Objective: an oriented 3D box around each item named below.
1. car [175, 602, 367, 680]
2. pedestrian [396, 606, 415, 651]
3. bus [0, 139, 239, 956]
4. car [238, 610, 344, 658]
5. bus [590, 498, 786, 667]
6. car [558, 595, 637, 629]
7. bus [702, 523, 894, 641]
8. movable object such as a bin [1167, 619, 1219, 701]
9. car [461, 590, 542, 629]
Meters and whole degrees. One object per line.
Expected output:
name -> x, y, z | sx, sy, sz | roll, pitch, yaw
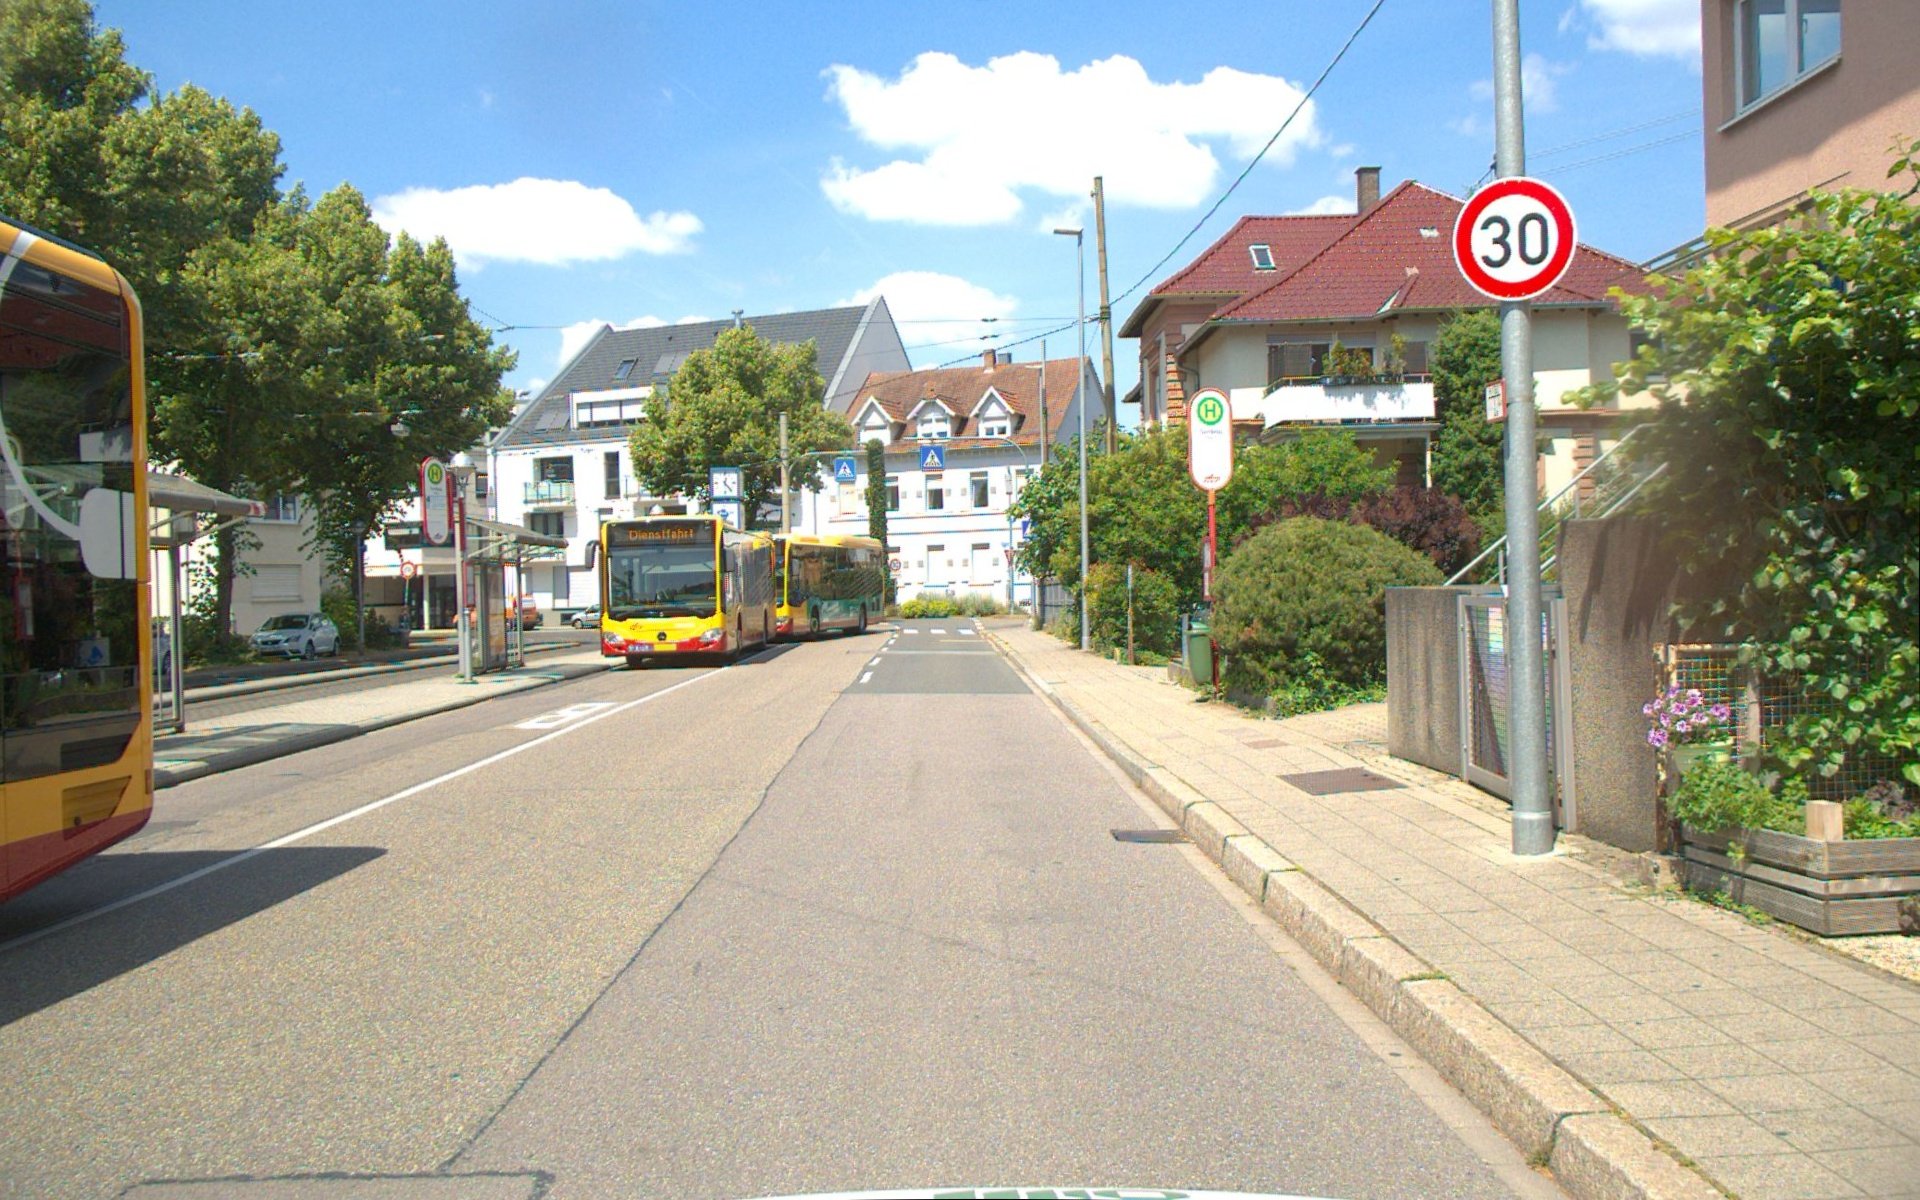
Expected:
car -> -12.854, 0.770, 31.009 | 3.231, 1.397, 1.459 | 1, -1, -21
pedestrian -> -25.389, 1.325, 75.721 | 0.677, 2.049, 0.611 | 2, -2, -36
bus -> -5.277, -0.305, 2.757 | 2.839, 3.304, 12.193 | 0, -1, 0
car -> -19.338, 0.985, 47.998 | 1.680, 1.342, 3.996 | 1, -1, -4
bus -> -6.000, -0.309, 38.697 | 2.848, 3.305, 12.114 | 0, 0, -1
car -> -19.929, 0.673, 90.997 | 3.907, 1.808, 1.856 | 0, -1, 24
bus -> -4.790, -0.597, 52.229 | 2.720, 3.264, 12.318 | 0, 1, 10
movable object such as a bin -> 2.768, 0.712, 19.678 | 0.398, 0.922, 0.729 | -5, -1, -4
car -> -24.716, 0.530, 89.133 | 3.910, 2.049, 1.997 | 0, -2, 28
